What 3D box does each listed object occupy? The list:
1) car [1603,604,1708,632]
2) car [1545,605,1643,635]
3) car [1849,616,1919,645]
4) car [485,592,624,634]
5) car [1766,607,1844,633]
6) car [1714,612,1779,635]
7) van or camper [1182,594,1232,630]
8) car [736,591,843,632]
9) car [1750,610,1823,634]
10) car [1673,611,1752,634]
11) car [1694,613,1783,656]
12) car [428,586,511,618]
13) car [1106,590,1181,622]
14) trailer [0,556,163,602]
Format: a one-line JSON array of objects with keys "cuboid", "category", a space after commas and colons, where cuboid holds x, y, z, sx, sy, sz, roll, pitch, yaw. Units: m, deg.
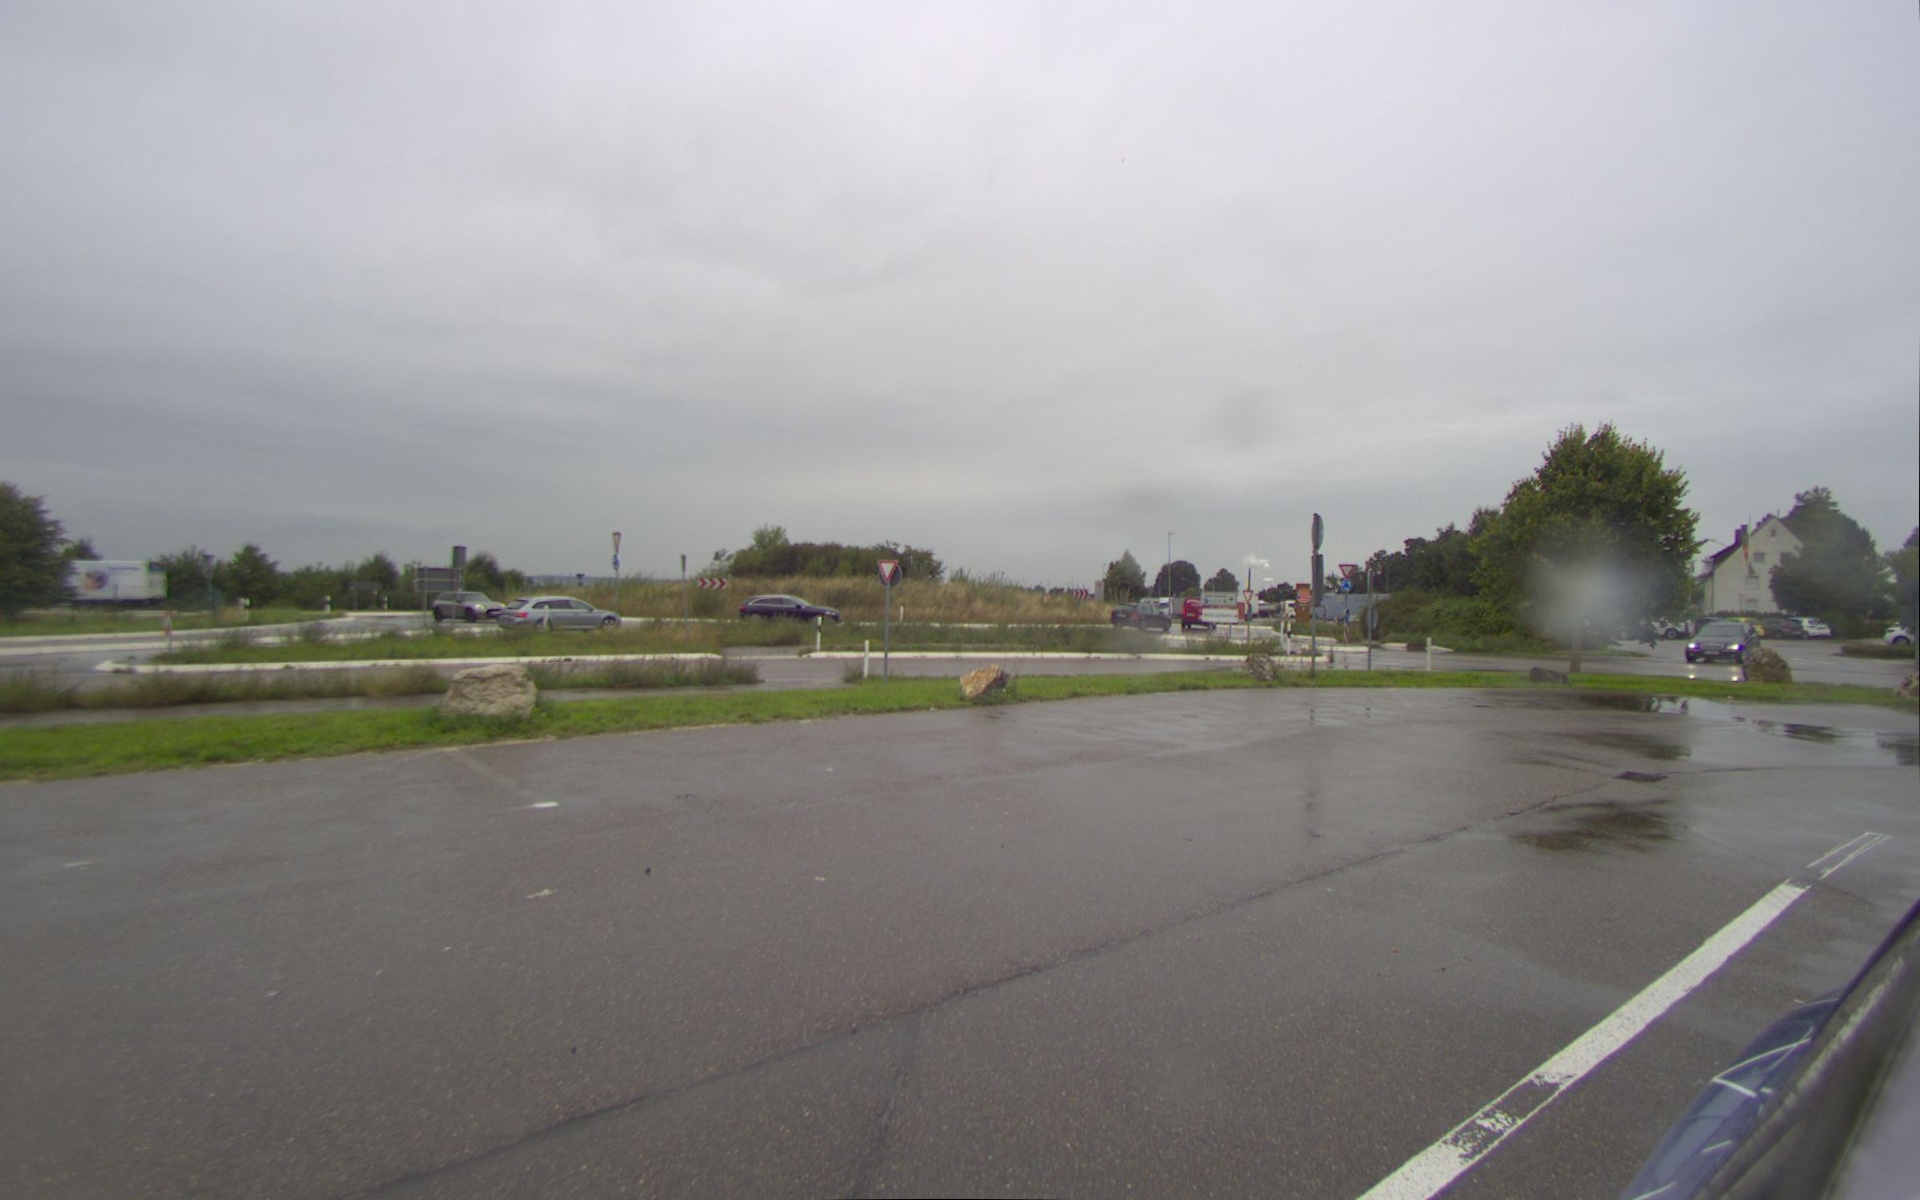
[{"cuboid": [45.342, 1.190, 66.110, 1.966, 1.744, 5.366, 2, -2, -42], "category": "car"}, {"cuboid": [37.457, 1.174, 59.856, 1.966, 1.744, 4.599, 2, -2, -42], "category": "car"}, {"cuboid": [50.518, 1.618, 54.107, 1.819, 1.443, 4.350, 1, 0, -44], "category": "car"}, {"cuboid": [-15.664, 0.511, 39.267, 4.585, 1.500, 1.995, 2, 1, -44], "category": "car"}, {"cuboid": [58.981, 1.359, 70.752, 1.951, 1.750, 4.002, 1, -1, -4], "category": "car"}, {"cuboid": [54.594, 1.612, 70.311, 1.635, 1.569, 3.723, 1, -1, 2], "category": "car"}, {"cuboid": [15.525, 0.700, 63.438, 1.980, 2.038, 4.803, 3, 2, 26], "category": "van or camper"}, {"cuboid": [-7.722, 0.501, 46.143, 4.581, 1.704, 1.893, 1, 2, 0], "category": "car"}, {"cuboid": [57.008, 1.513, 69.913, 1.715, 1.590, 3.890, 1, -1, -3], "category": "car"}, {"cuboid": [52.008, 1.557, 70.063, 1.962, 1.570, 4.647, 0, -1, 0], "category": "car"}, {"cuboid": [29.018, 1.236, 37.694, 4.282, 1.443, 1.704, 0, 0, -40], "category": "car"}, {"cuboid": [-23.857, 0.068, 49.180, 4.279, 1.341, 1.736, 3, 3, 33], "category": "car"}, {"cuboid": [9.919, 0.303, 54.552, 1.992, 1.623, 4.456, 0, 0, 41], "category": "car"}, {"cuboid": [-60.008, -1.387, 68.010, 9.928, 2.939, 2.211, 0, -1, -19], "category": "trailer"}]
